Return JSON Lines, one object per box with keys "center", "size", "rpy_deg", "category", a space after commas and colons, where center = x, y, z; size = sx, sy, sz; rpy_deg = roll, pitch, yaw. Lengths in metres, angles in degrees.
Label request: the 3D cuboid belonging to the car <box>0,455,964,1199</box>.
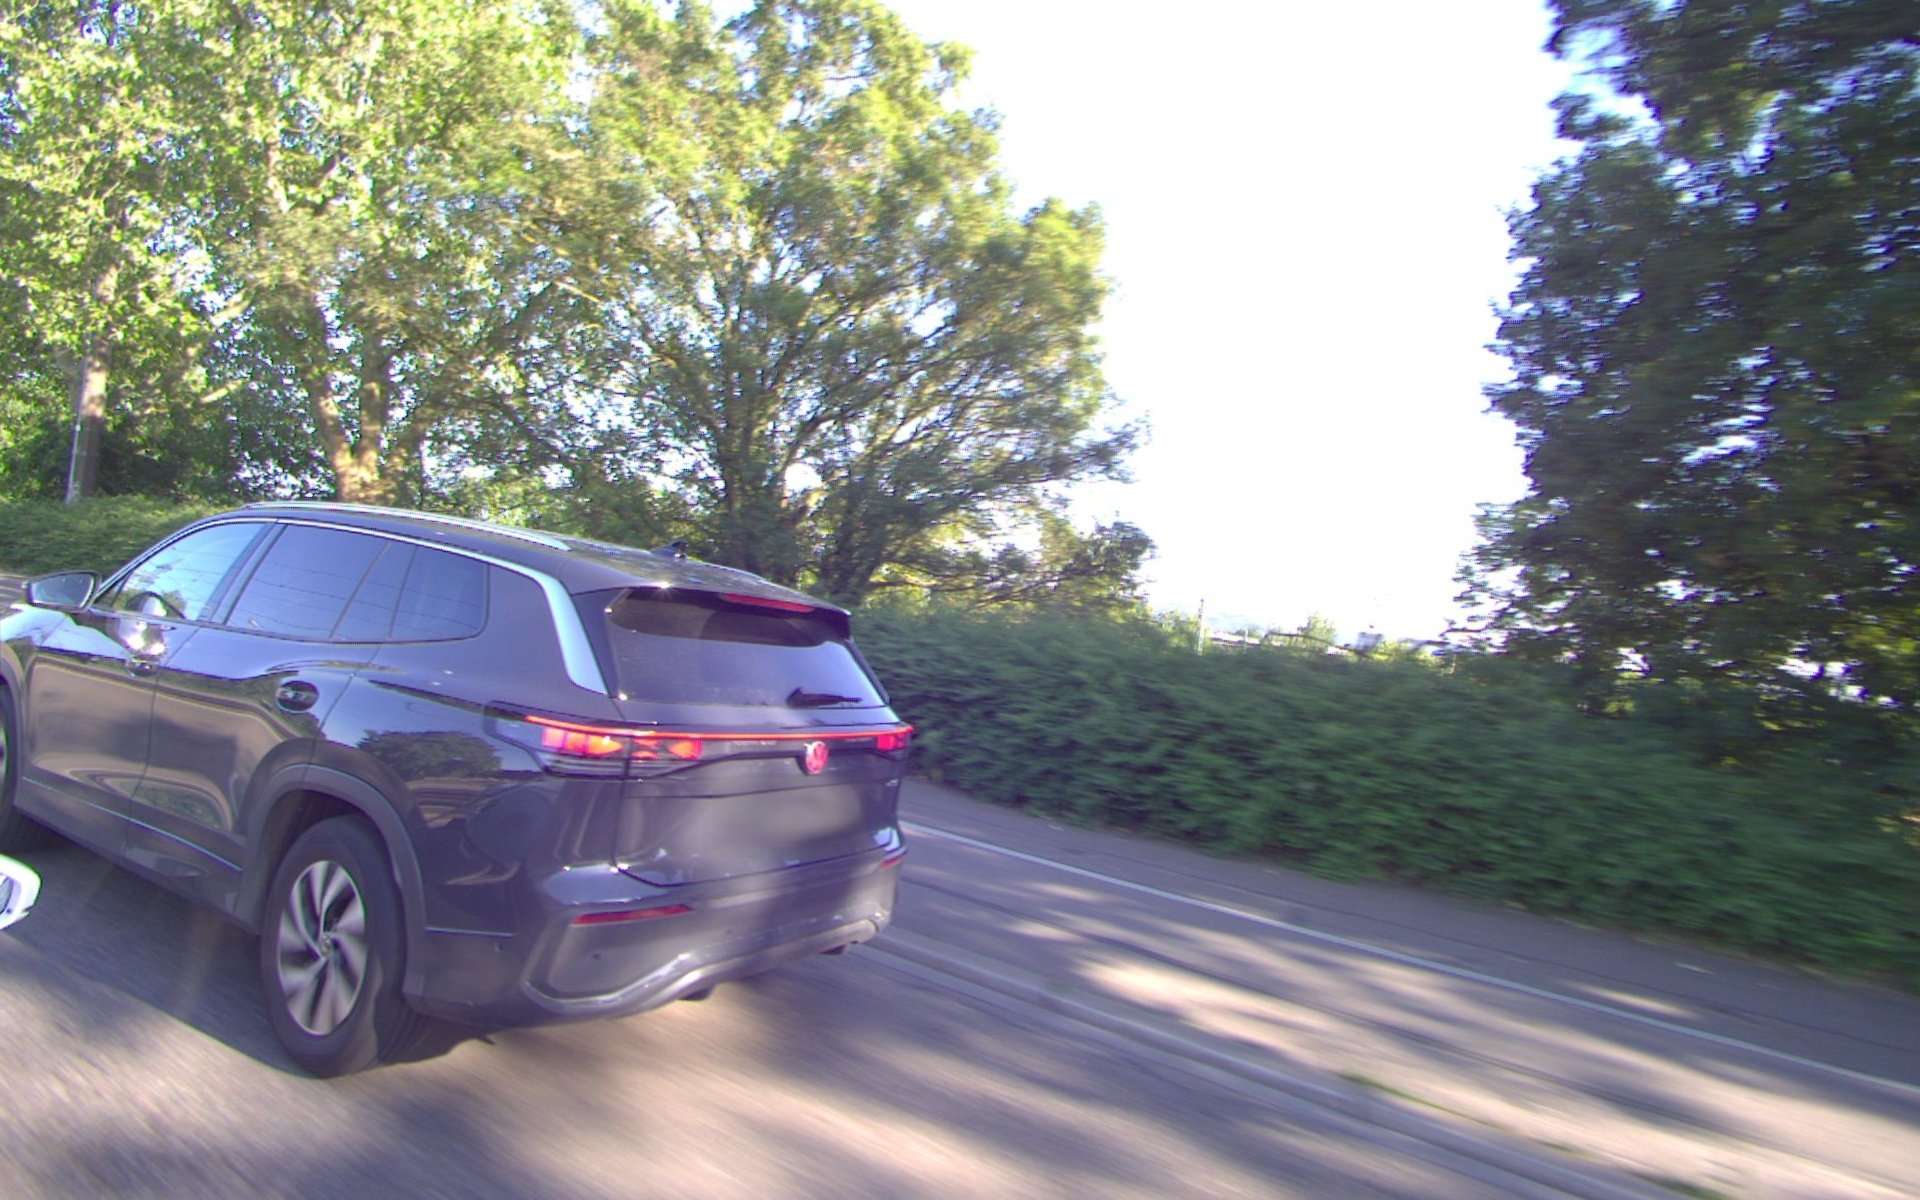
{"center": [-2.402, 0.444, 4.273], "size": [4.365, 1.681, 1.847], "rpy_deg": [7, -1, 31], "category": "car"}
